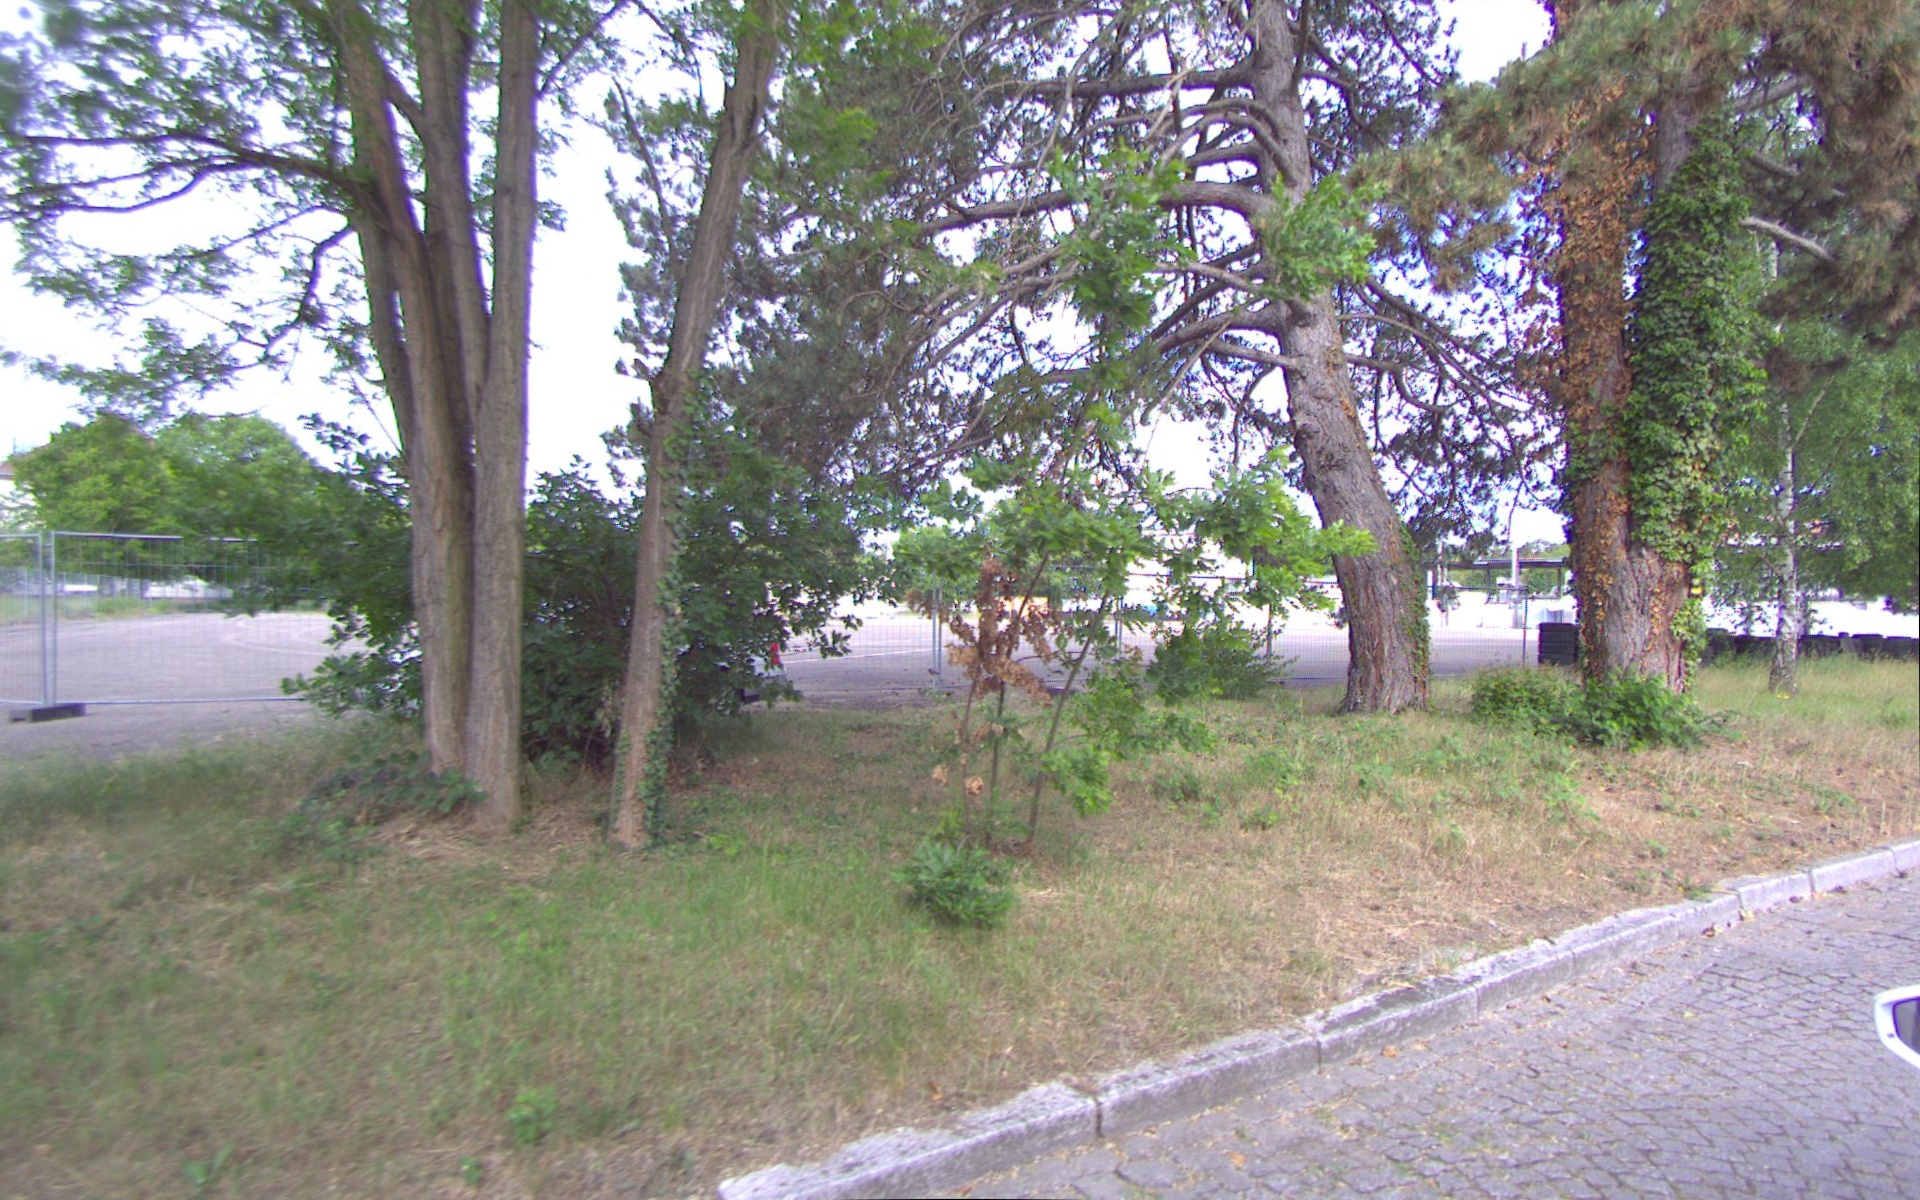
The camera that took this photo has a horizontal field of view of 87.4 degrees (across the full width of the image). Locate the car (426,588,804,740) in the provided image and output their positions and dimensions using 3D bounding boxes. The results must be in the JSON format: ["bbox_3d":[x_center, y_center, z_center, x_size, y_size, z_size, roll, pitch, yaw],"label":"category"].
[{"bbox_3d":[-3.767,0.625,11.159,3.684,1.429,1.655,1,0,-34],"label":"car"}]
